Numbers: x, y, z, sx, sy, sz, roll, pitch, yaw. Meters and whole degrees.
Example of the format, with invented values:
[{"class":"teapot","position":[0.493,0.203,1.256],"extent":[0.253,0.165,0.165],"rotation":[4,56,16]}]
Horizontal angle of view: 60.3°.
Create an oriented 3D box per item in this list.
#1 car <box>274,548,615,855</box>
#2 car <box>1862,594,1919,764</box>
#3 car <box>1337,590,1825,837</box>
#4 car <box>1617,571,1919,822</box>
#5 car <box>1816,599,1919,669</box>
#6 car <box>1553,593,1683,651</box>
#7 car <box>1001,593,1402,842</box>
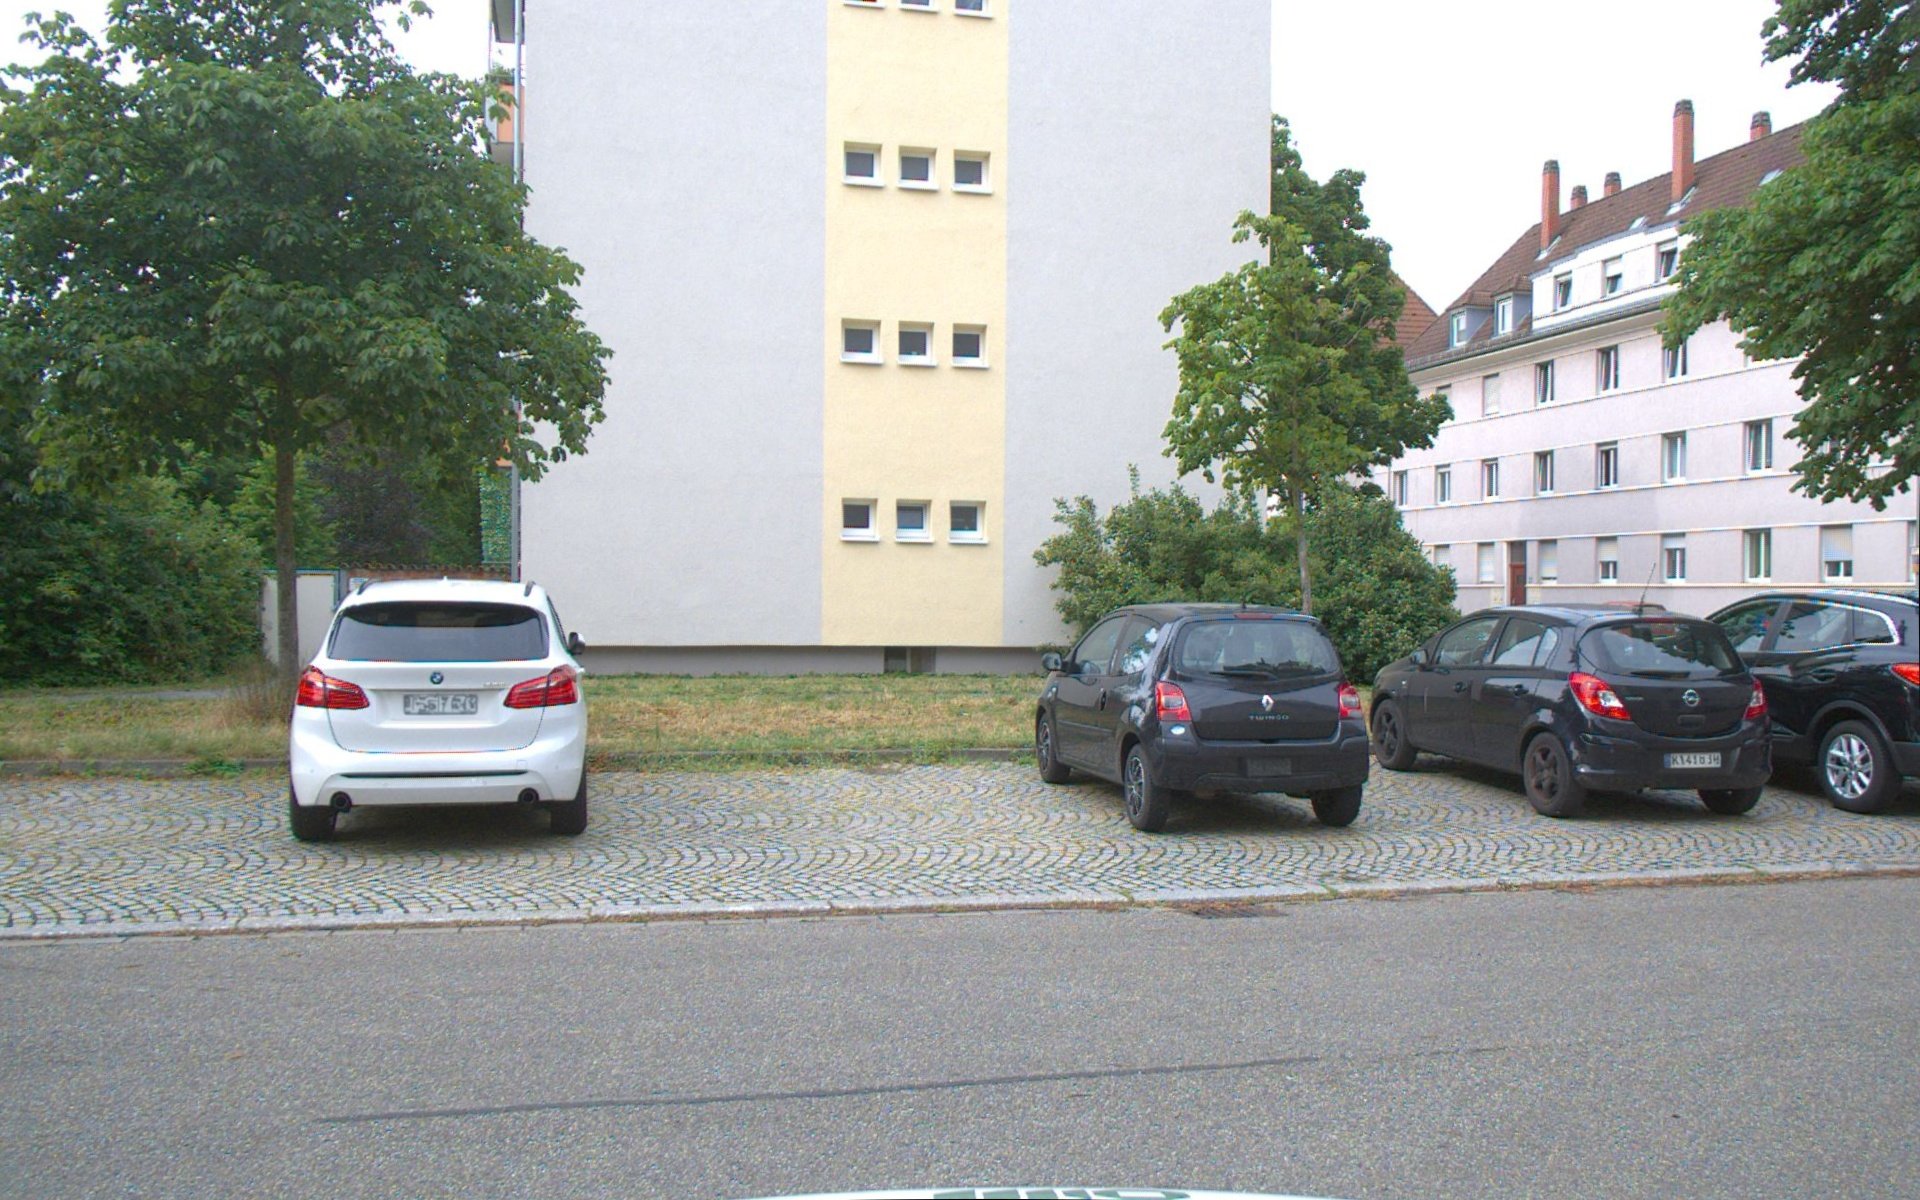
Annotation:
[{"class":"car","position":[-3.401,0.535,11.518],"extent":[1.846,1.587,4.137],"rotation":[1,3,-13]},{"class":"car","position":[10.151,0.749,14.649],"extent":[1.792,1.605,3.833],"rotation":[0,0,-10]},{"class":"car","position":[4.764,0.759,13.481],"extent":[1.801,1.593,4.348],"rotation":[0,1,-9]},{"class":"car","position":[7.334,0.649,13.448],"extent":[1.875,1.727,4.060],"rotation":[0,1,-9]},{"class":"car","position":[21.451,0.750,37.507],"extent":[1.539,1.504,3.859],"rotation":[0,0,-12]},{"class":"car","position":[19.083,0.604,48.135],"extent":[1.667,1.552,3.814],"rotation":[-1,1,-12]},{"class":"car","position":[1.629,0.740,12.885],"extent":[1.801,1.489,4.551],"rotation":[0,1,-9]}]
